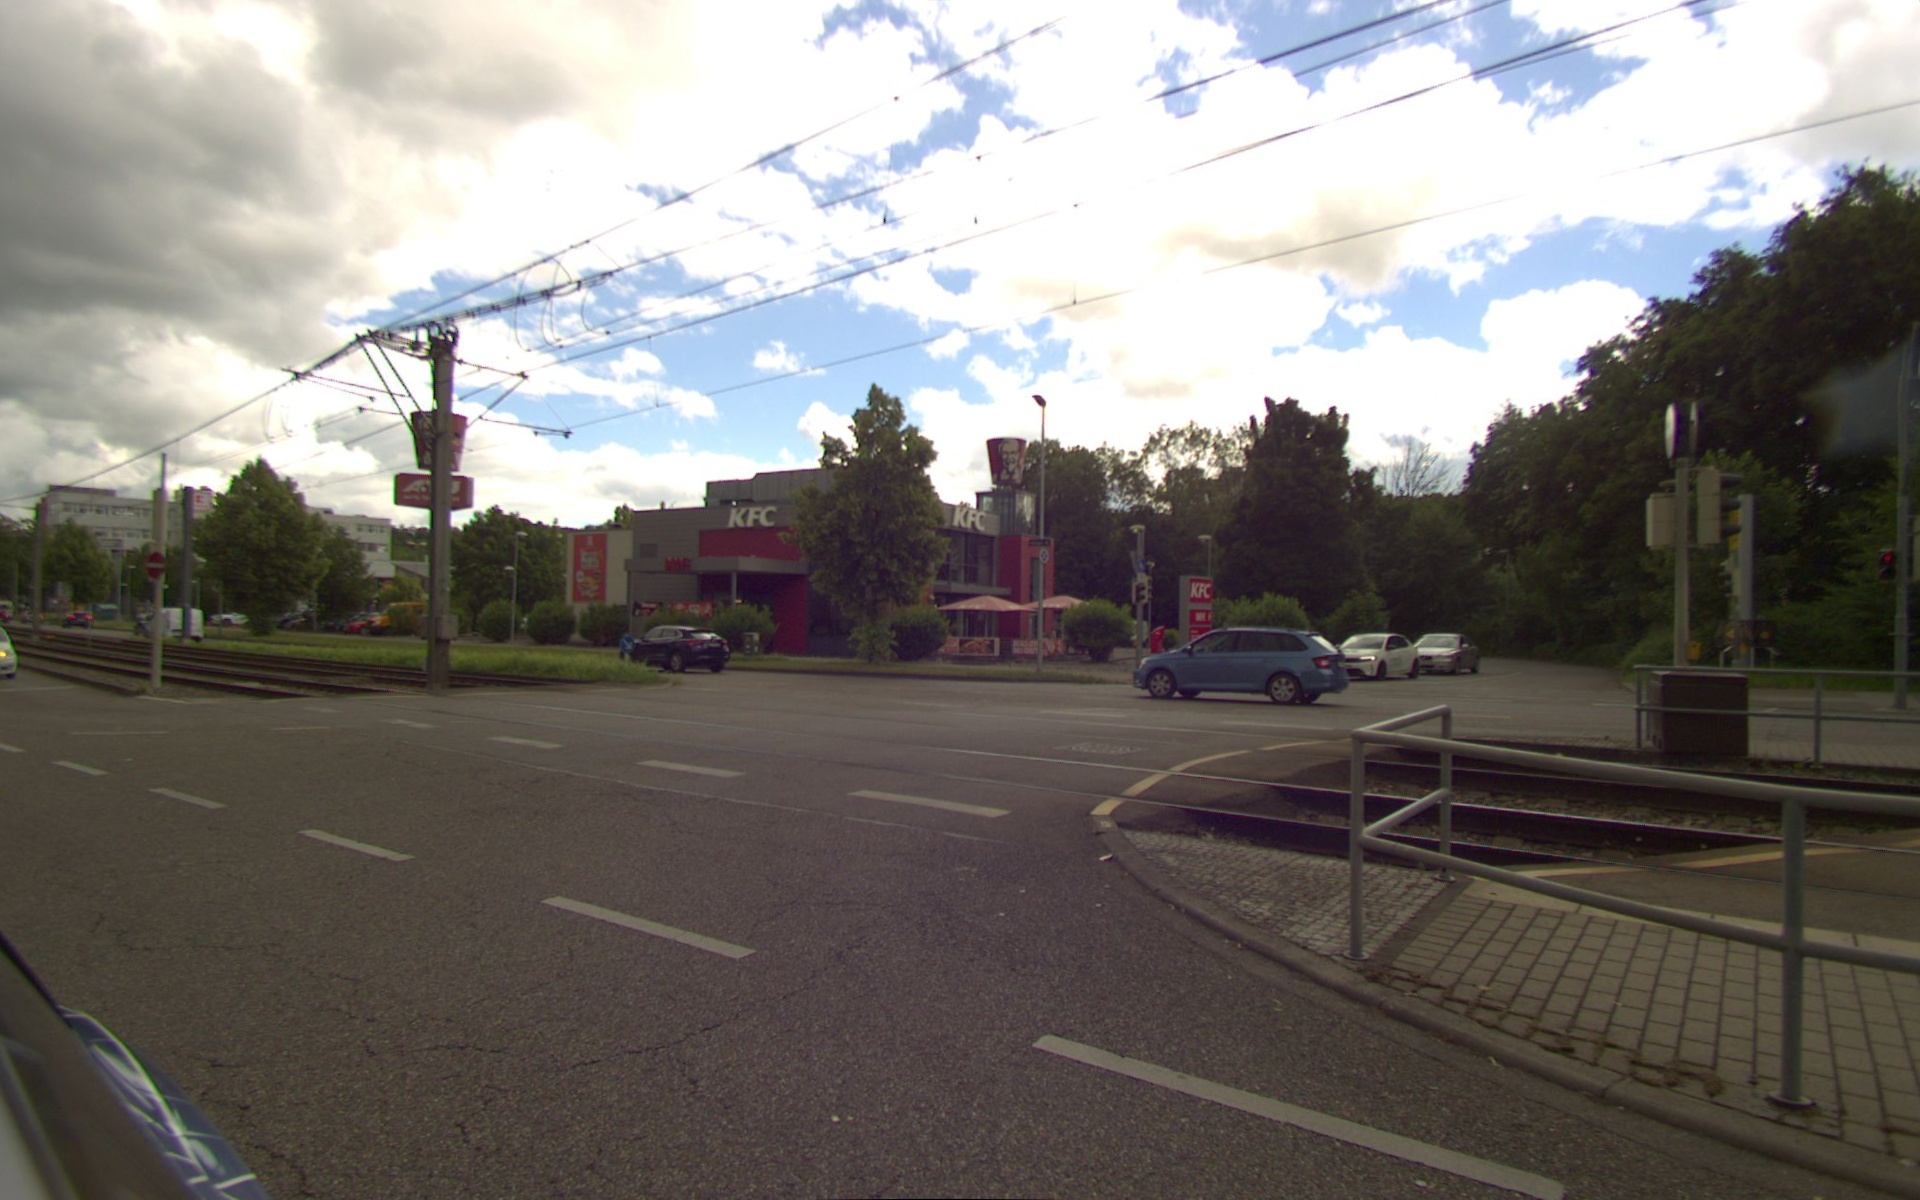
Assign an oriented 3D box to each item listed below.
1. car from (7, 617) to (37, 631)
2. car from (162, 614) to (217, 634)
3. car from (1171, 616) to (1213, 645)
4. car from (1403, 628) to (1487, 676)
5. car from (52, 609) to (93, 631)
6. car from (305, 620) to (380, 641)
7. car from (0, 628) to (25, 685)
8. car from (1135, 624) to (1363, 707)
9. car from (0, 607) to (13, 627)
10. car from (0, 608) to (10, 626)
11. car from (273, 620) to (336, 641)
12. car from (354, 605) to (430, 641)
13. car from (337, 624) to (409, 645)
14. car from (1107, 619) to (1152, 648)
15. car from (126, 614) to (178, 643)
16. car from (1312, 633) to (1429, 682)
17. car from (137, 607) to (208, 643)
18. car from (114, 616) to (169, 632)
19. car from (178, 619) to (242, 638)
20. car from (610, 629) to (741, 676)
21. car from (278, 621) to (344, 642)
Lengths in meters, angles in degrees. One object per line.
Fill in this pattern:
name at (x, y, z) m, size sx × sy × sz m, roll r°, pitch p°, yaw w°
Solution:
car at (-105.423, 2.663, 113.724) m, size 3.997 × 1.494 × 1.973 m, roll -1°, pitch -4°, yaw 40°
car at (-81.450, 2.536, 107.010) m, size 2.001 × 1.933 × 4.297 m, roll -1°, pitch 1°, yaw 44°
car at (16.973, 2.226, 73.864) m, size 1.992 × 2.029 × 3.960 m, roll -1°, pitch -2°, yaw 29°
car at (17.117, 1.798, 35.616) m, size 1.845 × 1.564 × 3.948 m, roll -1°, pitch -2°, yaw 38°
car at (-82.352, 1.837, 93.914) m, size 4.240 × 2.029 × 1.975 m, roll -1°, pitch -2°, yaw 37°
car at (-45.674, 2.225, 74.910) m, size 2.194 × 1.364 × 4.329 m, roll -1°, pitch 1°, yaw 40°
car at (-27.257, 1.556, 27.793) m, size 3.996 × 1.455 × 1.764 m, roll -1°, pitch 1°, yaw 39°
car at (5.637, 1.229, 19.937) m, size 4.044 × 1.457 × 1.581 m, roll -1°, pitch -3°, yaw 35°
car at (-127.243, 2.261, 133.972) m, size 5.995 × 2.518 × 1.850 m, roll -1°, pitch -3°, yaw 40°
car at (-106.823, 1.866, 111.851) m, size 3.993 × 2.029 × 1.975 m, roll -1°, pitch -3°, yaw 37°
car at (-54.076, 2.495, 83.546) m, size 1.936 × 1.518 × 3.947 m, roll -1°, pitch 1°, yaw 40°
car at (-37.988, 1.496, 67.708) m, size 2.057 × 2.182 × 3.947 m, roll -1°, pitch 1°, yaw 40°
car at (-41.476, 2.399, 71.579) m, size 1.999 × 1.245 × 3.947 m, roll -1°, pitch 1°, yaw 40°
car at (12.265, 2.366, 72.891) m, size 1.992 × 2.029 × 3.960 m, roll -1°, pitch -2°, yaw 29°
car at (-59.304, 2.085, 74.264) m, size 4.100 × 2.029 × 1.975 m, roll -1°, pitch -2°, yaw 37°
car at (12.886, 1.763, 31.715) m, size 3.830 × 1.419 × 1.850 m, roll 2°, pitch -2°, yaw -41°
car at (-46.599, 1.484, 59.852) m, size 4.874 × 2.029 × 1.976 m, roll -1°, pitch -2°, yaw 35°
car at (-90.131, 2.615, 111.468) m, size 2.001 × 1.504 × 4.550 m, roll -1°, pitch 1°, yaw 44°
car at (-68.786, 2.595, 92.903) m, size 1.793 × 1.518 × 4.428 m, roll -1°, pitch 1°, yaw 38°
car at (-9.693, 1.776, 34.381) m, size 4.499 × 1.493 × 1.975 m, roll -2°, pitch -4°, yaw 37°
car at (-51.029, 2.434, 79.635) m, size 1.936 × 1.431 × 3.947 m, roll -1°, pitch 1°, yaw 40°
